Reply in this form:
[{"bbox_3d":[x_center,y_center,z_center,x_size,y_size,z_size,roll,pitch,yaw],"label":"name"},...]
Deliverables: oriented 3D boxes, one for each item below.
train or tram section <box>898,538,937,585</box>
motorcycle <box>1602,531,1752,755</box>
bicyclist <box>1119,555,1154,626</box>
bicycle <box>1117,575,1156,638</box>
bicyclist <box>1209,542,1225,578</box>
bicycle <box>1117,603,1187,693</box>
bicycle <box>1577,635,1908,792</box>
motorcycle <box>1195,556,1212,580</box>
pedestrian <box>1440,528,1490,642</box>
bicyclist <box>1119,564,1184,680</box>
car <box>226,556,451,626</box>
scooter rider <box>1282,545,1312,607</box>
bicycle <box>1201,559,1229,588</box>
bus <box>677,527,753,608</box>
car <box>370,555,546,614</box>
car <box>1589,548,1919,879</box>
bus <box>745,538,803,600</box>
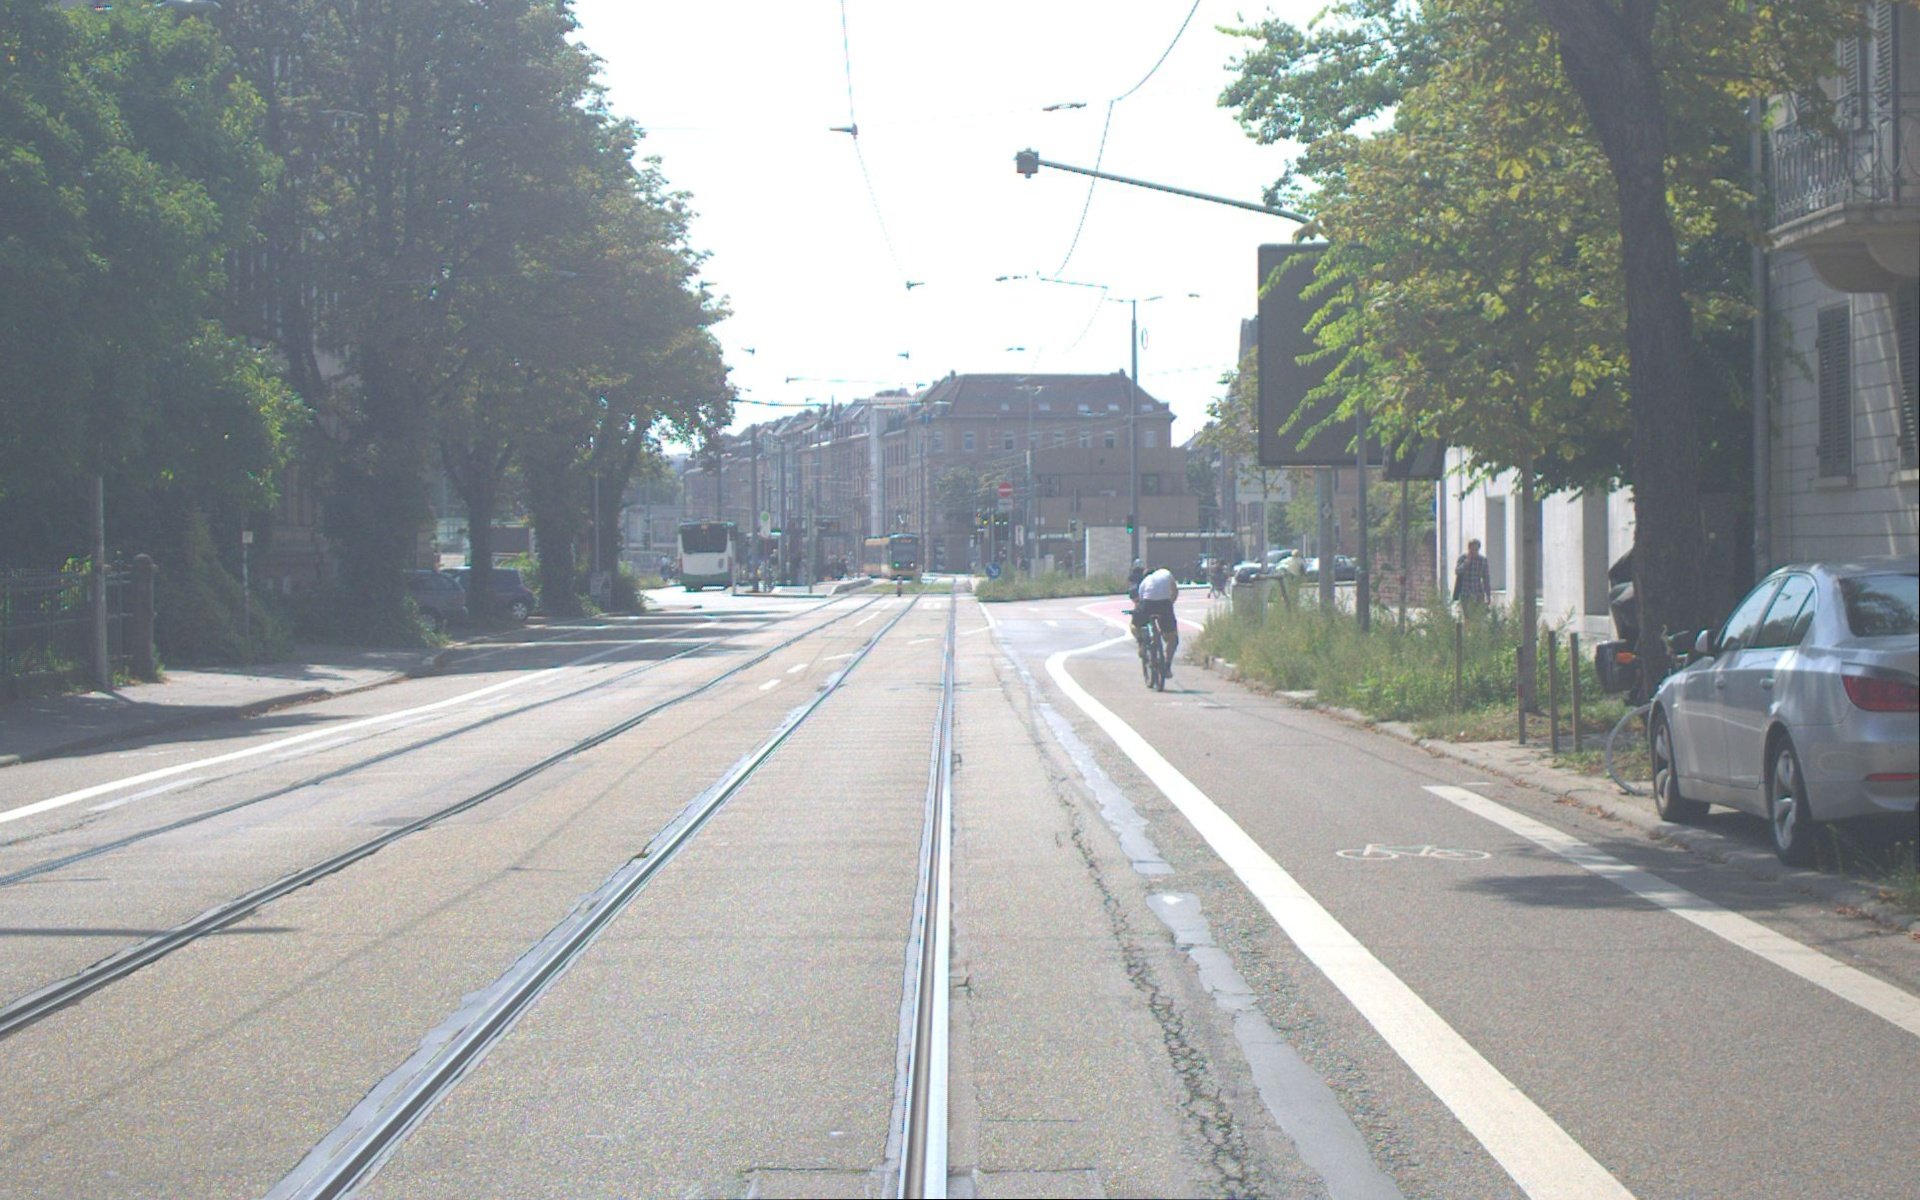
[{"bbox_3d":[-3.256,-2.943,266.122,2.856,3.536,17.743,0,0,0],"label":"train or tram section"},{"bbox_3d":[5.213,0.290,25.135,0.886,1.547,2.411,-1,0,8],"label":"motorcycle"},{"bbox_3d":[3.299,-0.178,64.255,0.603,1.331,0.659,0,0,8],"label":"bicyclist"},{"bbox_3d":[3.307,0.118,64.269,0.604,1.159,1.810,0,1,6],"label":"bicycle"},{"bbox_3d":[10.169,-1.578,135.978,0.450,1.416,0.495,0,0,34],"label":"bicyclist"},{"bbox_3d":[2.343,0.570,42.135,0.739,1.045,2.233,0,1,0],"label":"bicycle"},{"bbox_3d":[4.881,0.704,21.538,1.923,0.949,0.721,0,0,3],"label":"bicycle"},{"bbox_3d":[12.476,-1.647,175.982,0.604,1.206,2.252,0,1,11],"label":"motorcycle"},{"bbox_3d":[7.736,-0.234,52.691,0.692,1.726,0.579,0,1,2],"label":"pedestrian"},{"bbox_3d":[2.339,0.264,42.082,0.745,1.407,0.962,0,1,1],"label":"bicyclist"},{"bbox_3d":[-13.328,-0.199,73.734,4.414,1.457,1.821,0,1,-26],"label":"car"},{"bbox_3d":[9.768,-0.692,99.560,0.762,1.769,0.554,0,0,17],"label":"scooter rider"},{"bbox_3d":[10.086,-1.048,135.838,0.445,1.113,1.443,0,0,34],"label":"bicycle"},{"bbox_3d":[-11.756,-1.541,165.819,2.958,3.762,10.597,0,0,0],"label":"bus"},{"bbox_3d":[-13.038,-0.425,89.350,4.151,1.491,1.821,-1,1,-37],"label":"car"},{"bbox_3d":[4.649,0.467,17.634,1.782,1.445,4.752,-1,1,-2],"label":"car"},{"bbox_3d":[-11.384,-1.888,211.337,2.710,3.714,10.418,0,0,2],"label":"bus"}]
